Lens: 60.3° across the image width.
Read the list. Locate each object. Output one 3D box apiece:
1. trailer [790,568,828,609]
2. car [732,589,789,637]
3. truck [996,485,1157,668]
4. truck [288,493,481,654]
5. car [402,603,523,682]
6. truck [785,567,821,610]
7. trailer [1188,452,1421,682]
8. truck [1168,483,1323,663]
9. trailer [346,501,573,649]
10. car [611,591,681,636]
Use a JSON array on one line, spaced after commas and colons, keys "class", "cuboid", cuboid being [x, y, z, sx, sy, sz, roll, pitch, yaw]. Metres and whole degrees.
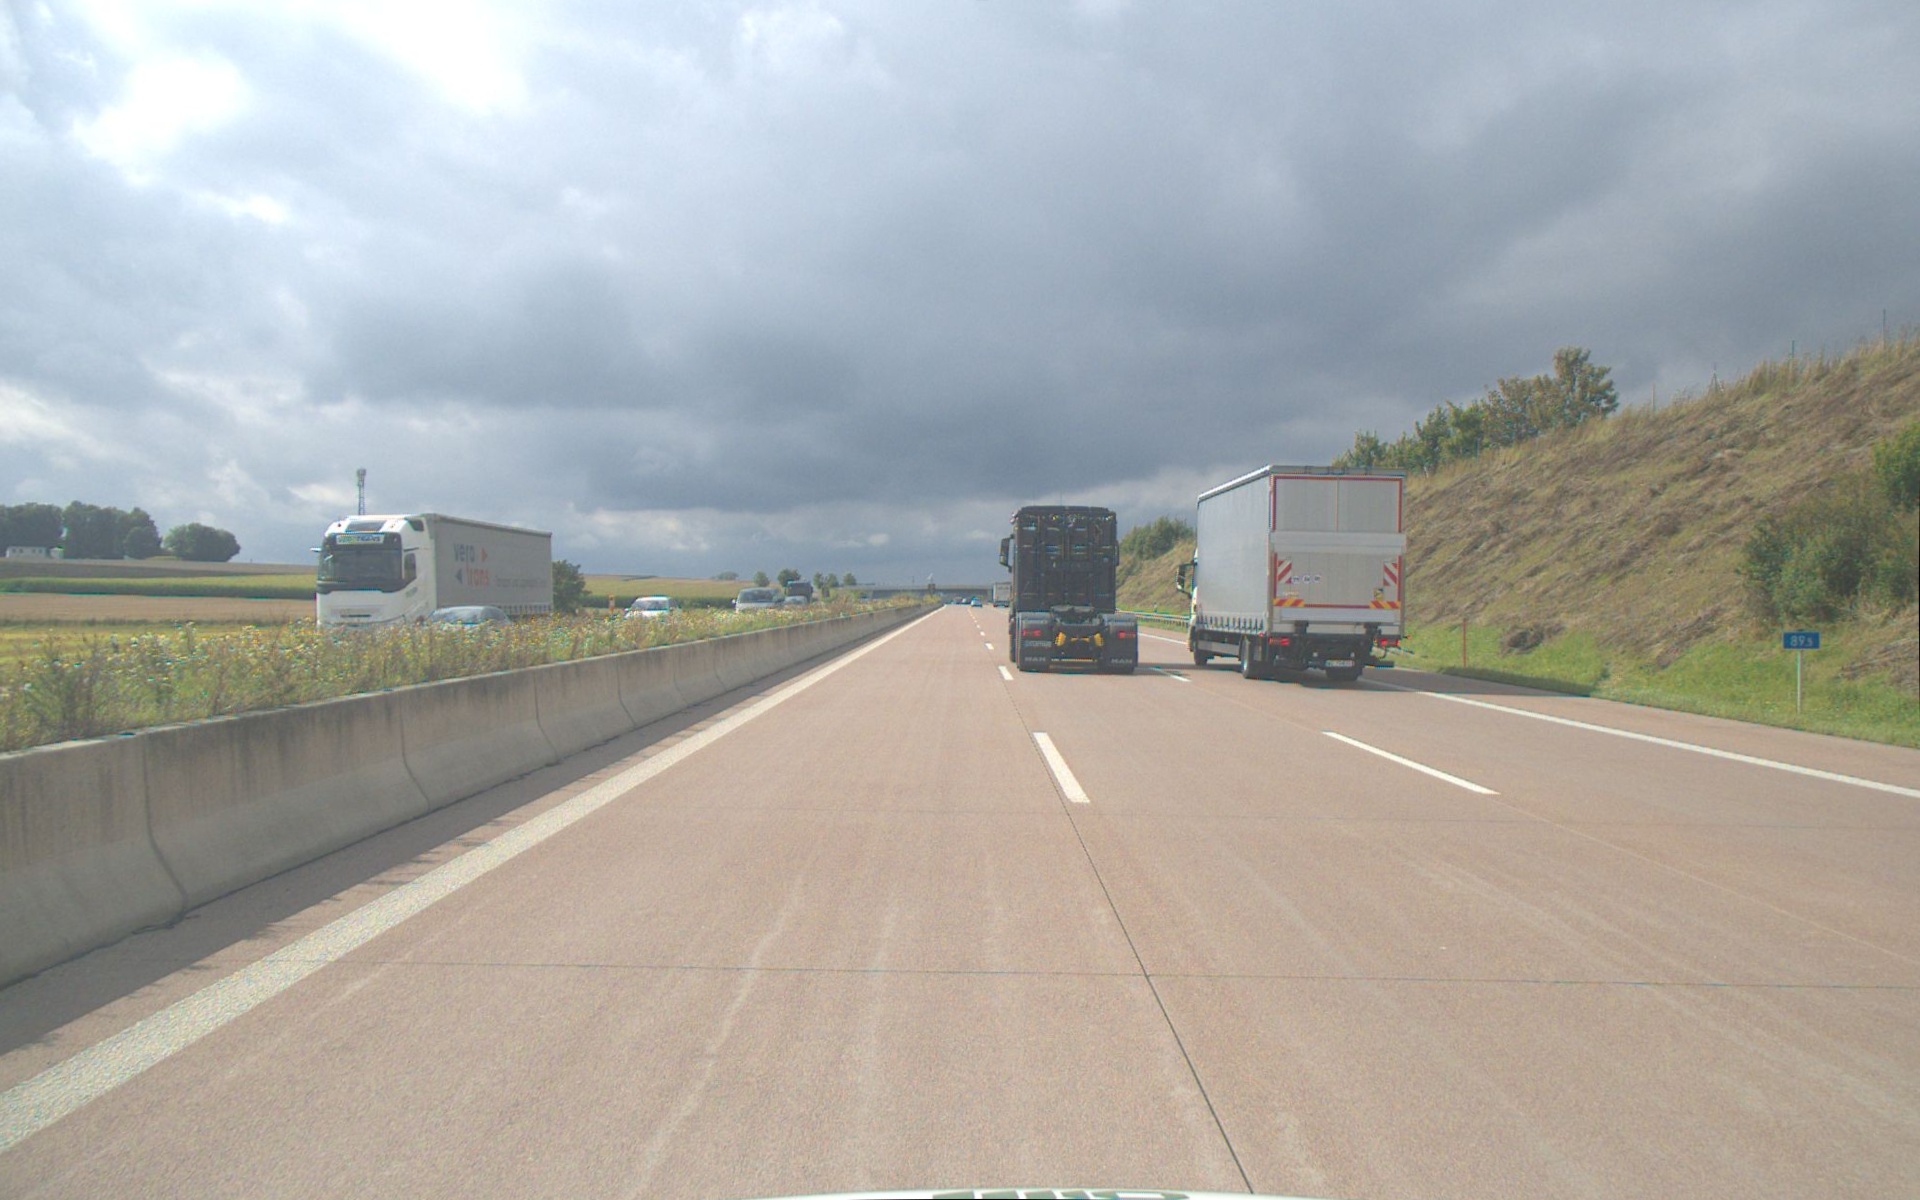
[{"class": "trailer", "cuboid": [-15.965, -1.223, 175.694, 2.832, 4.170, 11.038, -2, 0, 1]}, {"class": "car", "cuboid": [-8.898, 0.557, 74.052, 1.953, 2.049, 5.245, -2, 0, -1]}, {"class": "truck", "cuboid": [2.427, -0.454, 37.314, 2.790, 3.612, 8.317, 1, 0, -1]}, {"class": "truck", "cuboid": [-16.116, -0.731, 46.809, 3.140, 4.170, 6.127, 2, 0, 1]}, {"class": "car", "cuboid": [-12.518, 1.029, 41.900, 1.736, 1.778, 4.471, 2, 0, -1]}, {"class": "truck", "cuboid": [-16.046, -1.183, 169.662, 2.832, 4.170, 6.335, -2, 0, 1]}, {"class": "trailer", "cuboid": [6.798, -0.577, 34.039, 2.692, 4.082, 8.667, 1, 0, -2]}, {"class": "truck", "cuboid": [6.639, -0.599, 39.078, 2.693, 3.960, 4.544, 1, 0, -2]}, {"class": "trailer", "cuboid": [-16.003, -0.781, 54.398, 3.142, 4.170, 13.260, 2, 0, 1]}, {"class": "car", "cuboid": [-12.567, 0.516, 66.513, 1.953, 1.686, 4.784, -1, 0, -1]}]
